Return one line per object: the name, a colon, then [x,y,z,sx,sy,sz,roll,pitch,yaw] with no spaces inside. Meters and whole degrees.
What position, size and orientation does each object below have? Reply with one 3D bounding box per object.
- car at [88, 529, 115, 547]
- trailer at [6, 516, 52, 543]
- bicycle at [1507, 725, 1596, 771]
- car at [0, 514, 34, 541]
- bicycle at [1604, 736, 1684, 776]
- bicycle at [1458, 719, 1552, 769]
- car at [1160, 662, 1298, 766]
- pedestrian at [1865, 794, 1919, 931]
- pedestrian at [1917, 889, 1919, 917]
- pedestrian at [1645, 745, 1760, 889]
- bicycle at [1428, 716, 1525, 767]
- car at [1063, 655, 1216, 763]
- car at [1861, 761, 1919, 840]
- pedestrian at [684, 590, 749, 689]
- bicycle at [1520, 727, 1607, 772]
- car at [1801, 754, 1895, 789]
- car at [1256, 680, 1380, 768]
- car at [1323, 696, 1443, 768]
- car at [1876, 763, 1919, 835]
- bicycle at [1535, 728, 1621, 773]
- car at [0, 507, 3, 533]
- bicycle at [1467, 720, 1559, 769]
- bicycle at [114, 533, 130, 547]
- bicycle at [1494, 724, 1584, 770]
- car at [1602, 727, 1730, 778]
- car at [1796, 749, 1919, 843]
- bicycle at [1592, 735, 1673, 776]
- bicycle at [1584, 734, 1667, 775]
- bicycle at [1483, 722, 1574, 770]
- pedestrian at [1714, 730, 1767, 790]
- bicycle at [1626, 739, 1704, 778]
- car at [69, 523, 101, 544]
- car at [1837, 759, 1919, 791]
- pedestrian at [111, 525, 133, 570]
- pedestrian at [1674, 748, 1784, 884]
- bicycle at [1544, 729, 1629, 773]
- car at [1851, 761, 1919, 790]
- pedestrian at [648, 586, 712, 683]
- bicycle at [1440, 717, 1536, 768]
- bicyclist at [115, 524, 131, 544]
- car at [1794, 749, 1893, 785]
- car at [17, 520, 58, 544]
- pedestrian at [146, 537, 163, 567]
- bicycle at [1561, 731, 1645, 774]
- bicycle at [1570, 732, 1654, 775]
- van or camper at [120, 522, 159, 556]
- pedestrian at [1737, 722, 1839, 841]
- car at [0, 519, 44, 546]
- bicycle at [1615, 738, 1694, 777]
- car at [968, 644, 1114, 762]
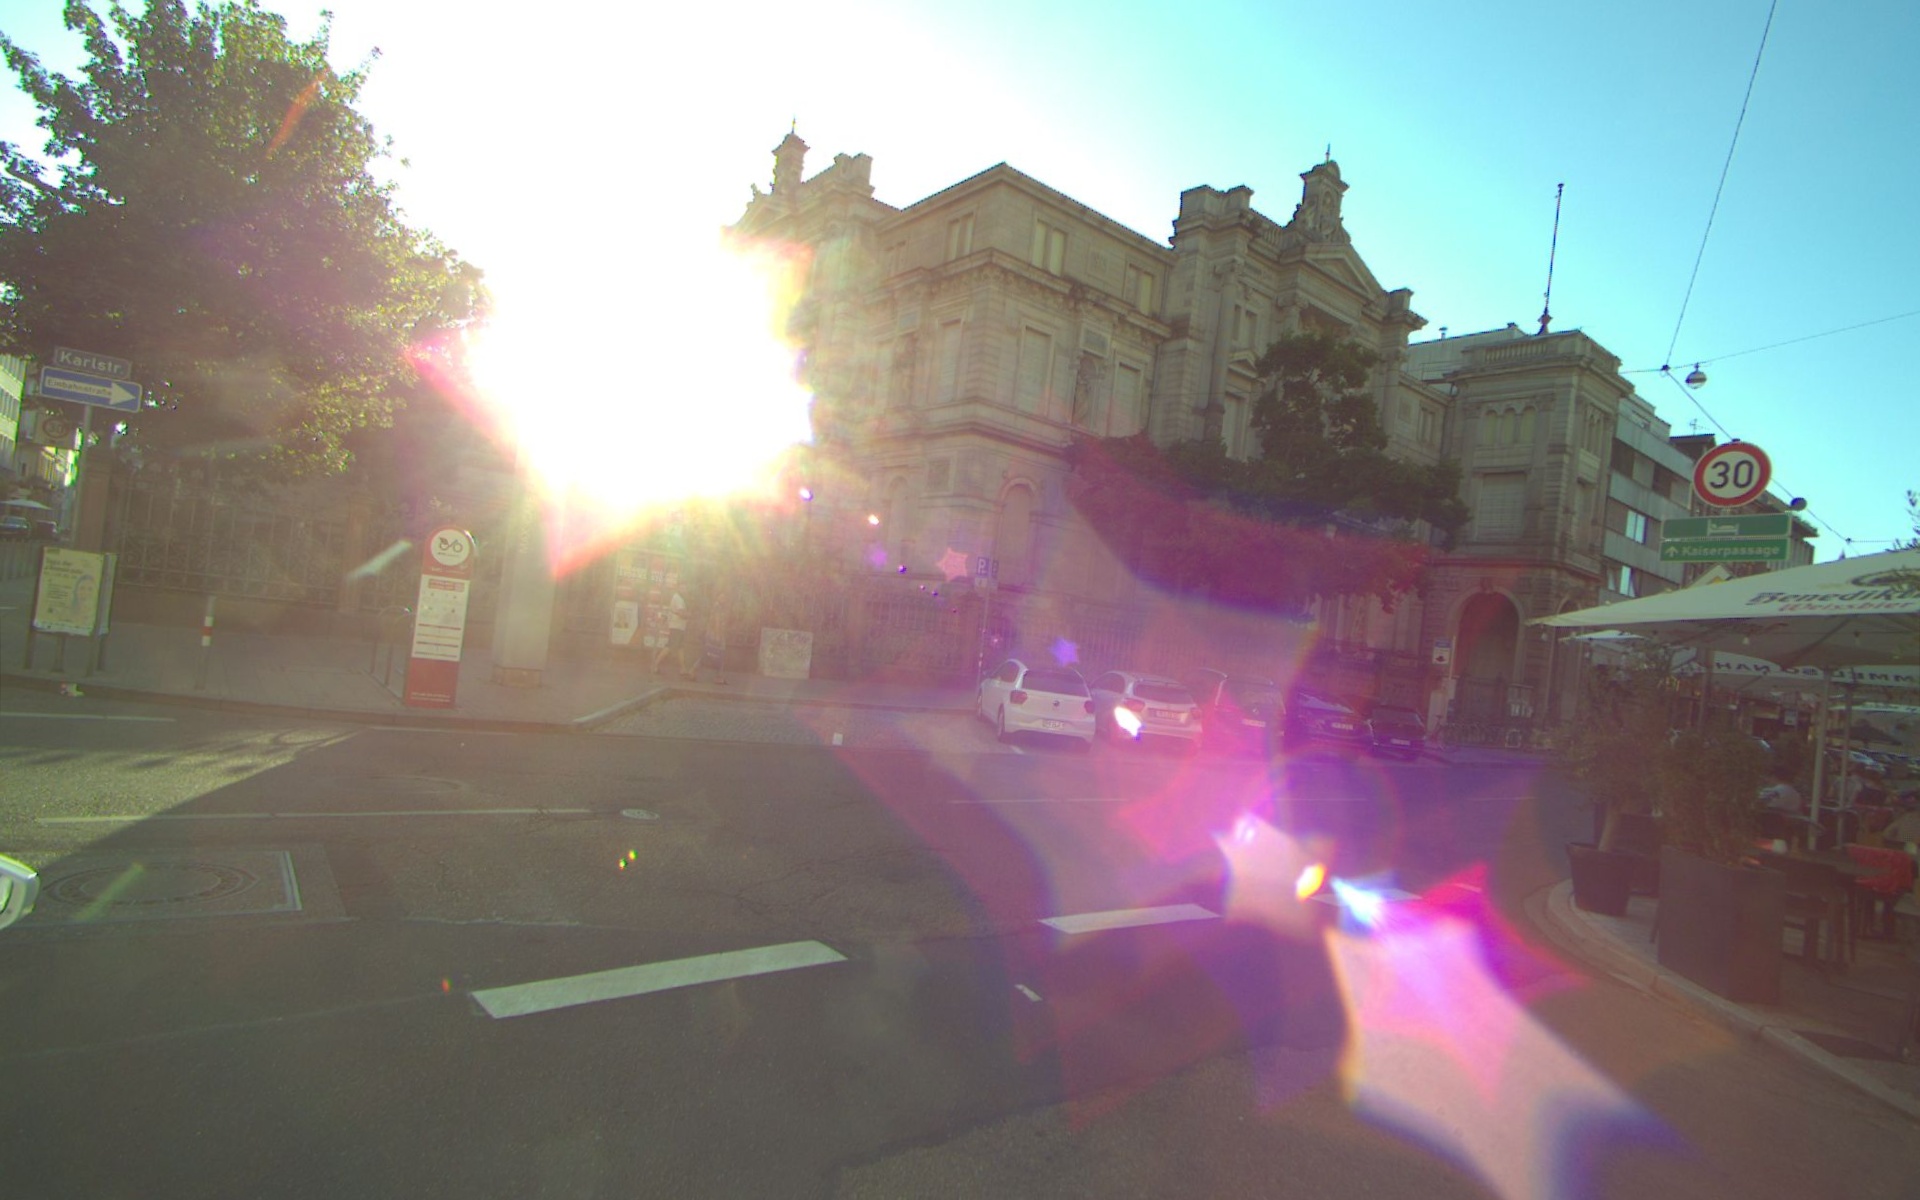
car: [-102.795,-7.400,120.502,1.984,1.703,3.961,9,-3,-37]
trailer: [-66.464,-5.017,71.875,1.985,1.574,3.959,9,-3,-38]
bicycle: [18.940,4.731,32.266,0.712,1.102,2.276,8,-3,-41]
car: [-61.028,-4.674,64.600,1.876,1.470,3.958,8,-2,-39]
bicycle: [25.354,5.786,37.319,0.712,1.102,2.276,8,-3,-41]
bicycle: [16.135,4.259,29.848,0.712,1.102,2.276,8,-3,-41]
car: [5.887,2.455,22.517,1.723,1.741,4.000,7,-1,-2]
pedestrian: [9.247,2.536,9.684,0.568,1.202,0.595,8,-1,-34]
pedestrian: [10.133,2.606,10.061,0.680,1.260,0.595,8,-1,-34]
pedestrian: [7.455,2.161,10.135,0.589,1.260,0.687,7,-1,12]
bicycle: [14.655,4.011,28.598,0.712,1.102,2.276,8,-3,-41]
car: [3.565,2.156,20.793,1.726,1.545,3.992,7,1,-9]
car: [21.167,4.320,20.257,4.030,1.429,1.757,6,-2,20]
pedestrian: [-4.442,0.733,18.374,0.633,1.690,0.703,8,0,39]
bicycle: [19.666,4.850,32.826,0.712,1.102,2.276,8,-3,-41]
car: [54.160,10.467,61.397,1.741,1.428,3.962,9,-3,-37]
car: [8.321,2.831,23.719,1.722,1.626,4.006,7,-3,6]
car: [11.077,3.419,26.625,1.722,1.428,4.006,7,-3,6]
car: [22.873,4.615,21.813,3.993,1.429,1.757,6,-2,20]
bicycle: [20.549,4.993,33.485,0.712,1.102,2.276,8,-3,-41]
car: [-54.334,-4.326,55.360,1.876,1.934,4.698,8,-2,-39]
bicycle: [16.732,4.366,30.492,0.712,1.102,2.276,8,-3,-41]
bicycle: [-87.008,-6.184,104.433,0.970,1.295,2.727,8,-3,-37]
bicycle: [18.218,4.613,31.710,0.712,1.102,2.276,8,-3,-41]
car: [29.288,6.315,41.816,1.741,1.428,3.962,9,-3,-37]
car: [18.398,3.812,18.658,3.993,1.429,1.757,6,-2,20]
bicycle: [24.442,5.636,36.606,0.712,1.102,2.276,8,-3,-41]
bicycle: [23.807,5.528,36.026,0.712,1.102,2.276,8,-3,-41]
bicycle: [17.535,4.495,31.070,0.712,1.102,2.276,8,-3,-41]
pedestrian: [25.381,5.204,32.714,0.994,1.770,0.965,8,-1,-35]
bicycle: [26.913,6.038,38.451,0.712,1.102,2.276,8,-3,-41]
car: [-89.352,-6.744,102.778,1.984,1.703,3.961,9,-3,-37]
car: [61.886,11.751,67.728,1.741,1.428,3.962,9,-3,-37]
pedestrian: [-32.372,-2.017,38.849,0.482,1.679,0.611,5,0,-45]
pedestrian: [8.222,2.290,10.788,0.589,1.260,0.687,7,-1,12]
bicycle: [21.176,5.100,34.052,0.712,1.102,2.276,8,-3,-41]
car: [64.375,12.146,69.421,1.741,1.428,3.962,9,-3,-37]
pedestrian: [-5.208,0.648,18.693,0.633,1.690,0.703,8,0,39]
bicycle: [15.267,4.115,29.151,0.712,1.102,2.276,8,-3,-41]
bicyclist: [-86.889,-6.806,104.419,0.985,1.890,0.701,8,-2,-36]
car: [52.015,9.807,59.291,1.730,1.428,3.987,8,-3,-19]
car: [-68.858,-5.085,75.127,1.876,1.470,3.958,8,-2,-39]
pedestrian: [-47.817,-2.860,59.759,0.658,1.687,0.618,5,0,-37]
bicycle: [22.147,5.253,34.684,0.712,1.102,2.276,8,-3,-41]
bicycle: [22.819,5.365,35.250,0.712,1.102,2.276,8,-3,-41]
van or camper: [-69.605,-5.126,85.413,2.244,2.641,5.062,3,0,-37]
pedestrian: [9.899,2.156,12.054,0.589,1.260,0.687,7,-1,12]
car: [-64.052,-4.592,68.650,1.876,1.470,3.958,8,-2,-39]
bicycle: [26.109,5.907,37.842,0.712,1.102,2.276,8,-3,-41]
car: [1.408,1.853,19.118,1.726,1.466,3.900,7,2,-9]
